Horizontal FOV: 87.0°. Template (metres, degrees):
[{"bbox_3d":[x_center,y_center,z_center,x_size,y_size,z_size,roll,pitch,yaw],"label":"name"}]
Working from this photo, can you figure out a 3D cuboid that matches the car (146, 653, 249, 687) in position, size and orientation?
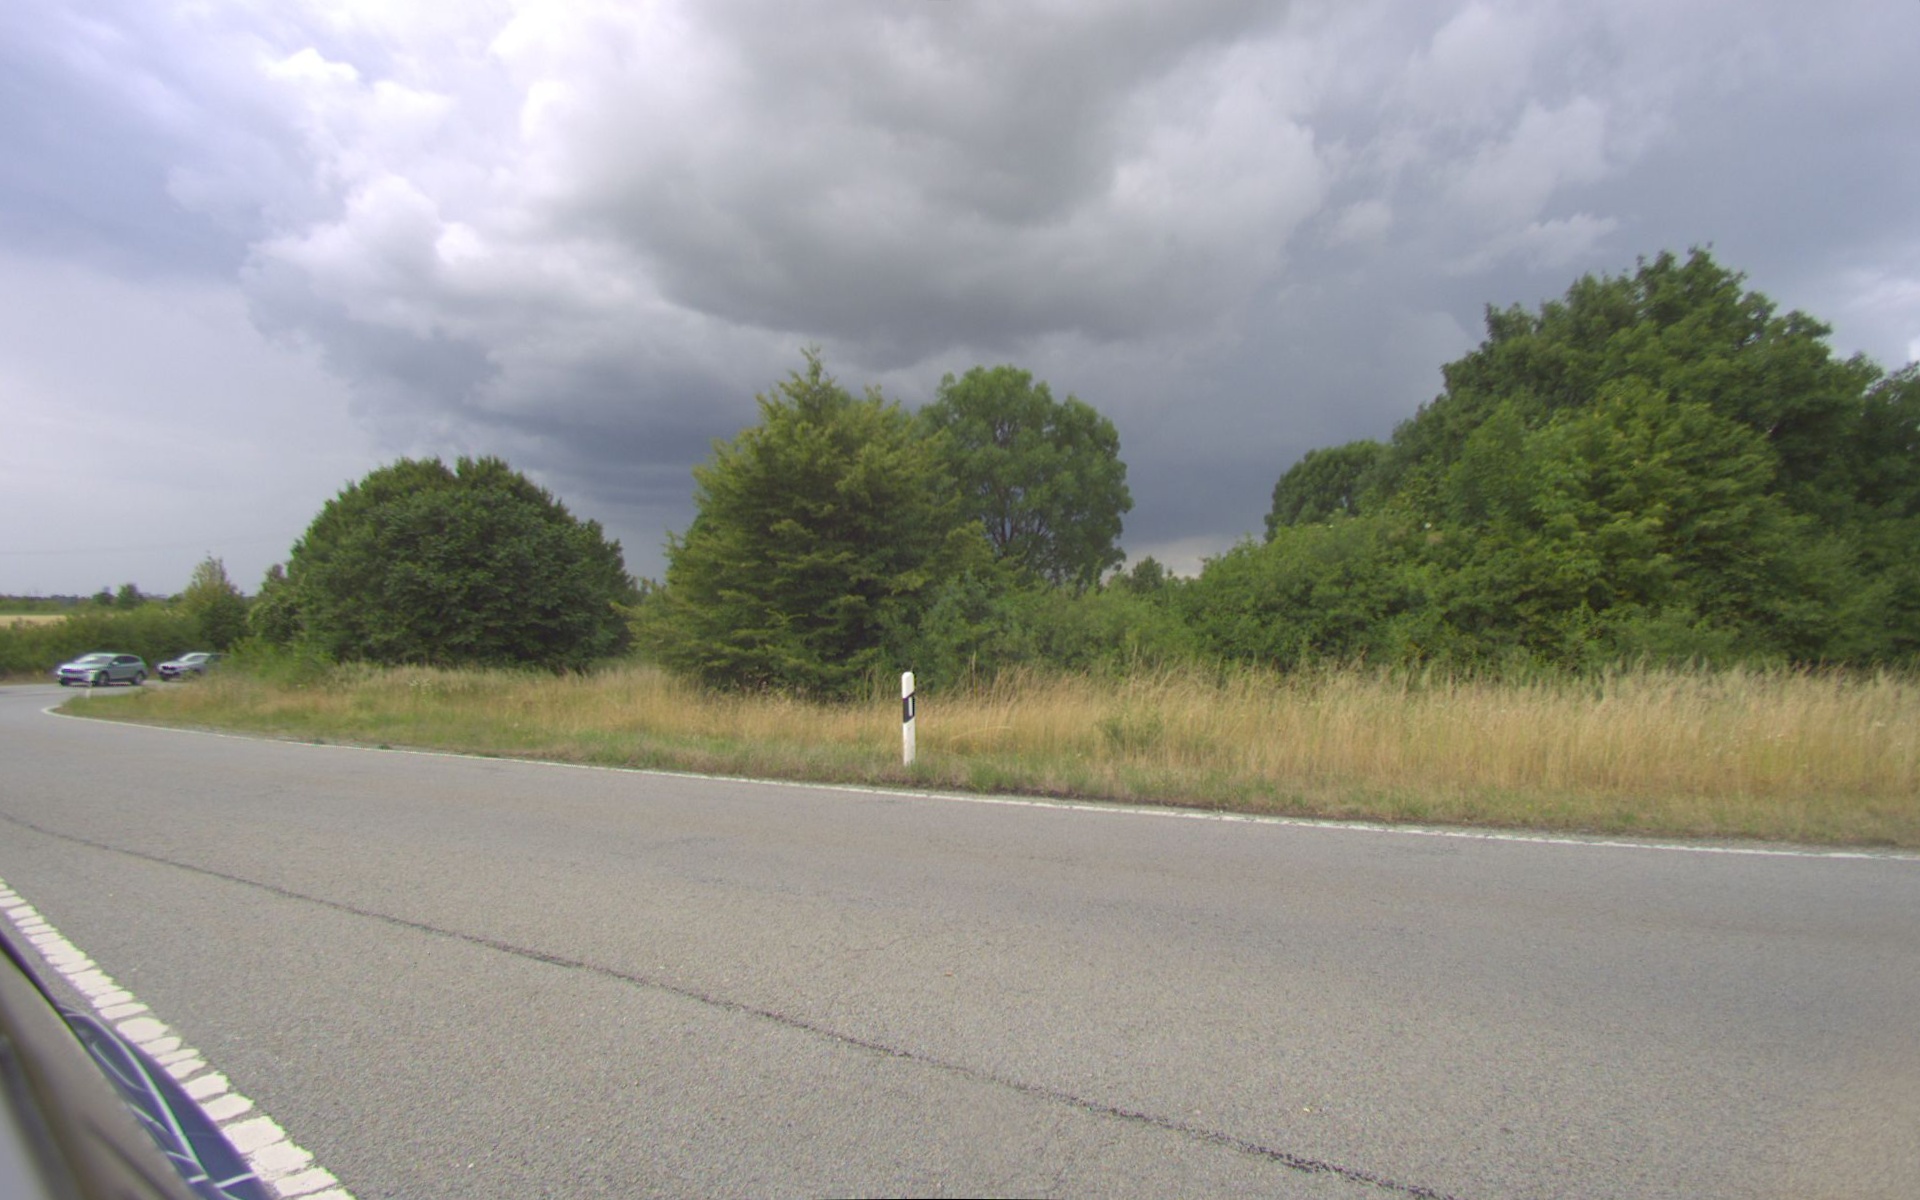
[{"bbox_3d":[-44.489,4.032,59.218,1.973,1.732,5.205,2,-2,2],"label":"car"}]

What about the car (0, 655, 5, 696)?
[{"bbox_3d":[-40.461,2.999,40.115,1.965,1.733,5.225,3,-5,-22],"label":"car"}]

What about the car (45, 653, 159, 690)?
[{"bbox_3d":[-43.540,3.624,51.516,1.968,1.733,5.219,2,-4,-10],"label":"car"}]
